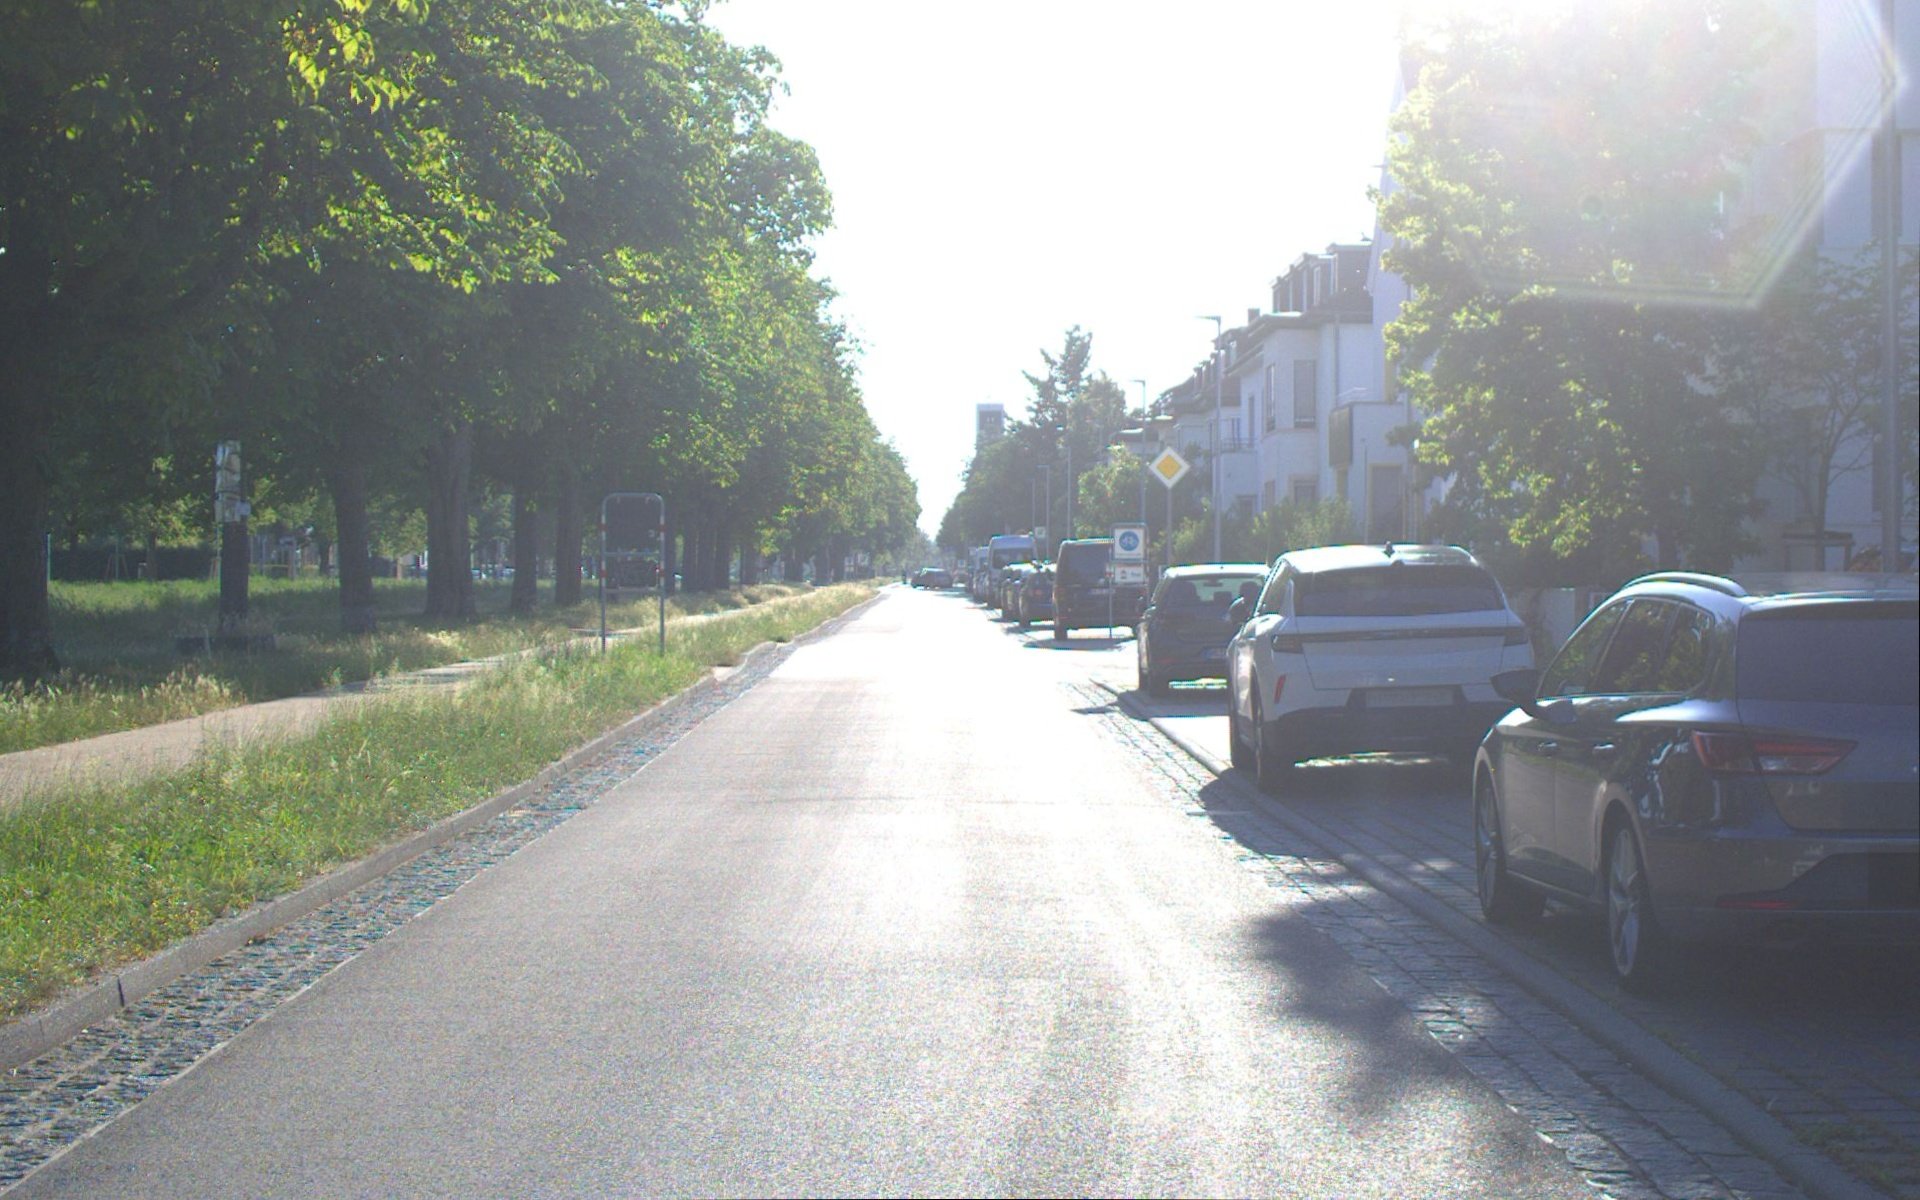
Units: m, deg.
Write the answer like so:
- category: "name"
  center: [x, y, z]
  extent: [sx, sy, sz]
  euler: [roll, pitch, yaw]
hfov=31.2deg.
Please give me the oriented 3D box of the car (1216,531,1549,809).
- category: "car"
  center: [2.872, 0.405, 24.288]
  extent: [1.905, 1.702, 4.575]
  euler: [-2, 1, 2]

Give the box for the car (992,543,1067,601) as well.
- category: "car"
  center: [1.962, -0.784, 97.956]
  extent: [1.717, 1.568, 4.211]
  euler: [-2, 0, -4]

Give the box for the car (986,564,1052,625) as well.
- category: "car"
  center: [1.744, -0.182, 103.522]
  extent: [1.832, 1.679, 4.415]
  euler: [2, 1, 0]

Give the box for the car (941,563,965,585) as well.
- category: "car"
  center: [-0.499, -1.888, 249.297]
  extent: [1.650, 1.525, 3.851]
  euler: [4, 1, 1]

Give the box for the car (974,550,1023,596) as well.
- category: "car"
  center: [1.377, -0.976, 124.679]
  extent: [1.663, 1.587, 4.086]
  euler: [1, 0, 0]

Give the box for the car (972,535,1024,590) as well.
- category: "car"
  center: [1.767, -1.747, 161.517]
  extent: [2.126, 2.524, 5.189]
  euler: [-1, 1, -2]

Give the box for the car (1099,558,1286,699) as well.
- category: "car"
  center: [2.616, 0.280, 39.492]
  extent: [1.794, 1.477, 4.124]
  euler: [-2, 1, -1]

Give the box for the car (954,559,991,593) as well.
- category: "car"
  center: [0.572, -1.093, 155.386]
  extent: [1.650, 1.525, 3.851]
  euler: [-1, 1, 1]

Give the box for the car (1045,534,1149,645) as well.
- category: "car"
  center: [2.736, -0.236, 69.644]
  extent: [1.906, 2.124, 4.814]
  euler: [-2, 1, 1]

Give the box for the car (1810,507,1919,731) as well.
- category: "car"
  center: [9.609, 0.187, 29.635]
  extent: [3.982, 1.838, 1.816]
  euler: [2, 2, -6]

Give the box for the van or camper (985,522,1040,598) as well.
- category: "van or camper"
  center: [1.975, -1.501, 131.255]
  extent: [1.943, 2.768, 5.940]
  euler: [1, 0, 0]

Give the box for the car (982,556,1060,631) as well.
- category: "car"
  center: [1.500, -0.181, 85.962]
  extent: [1.794, 1.765, 4.473]
  euler: [-2, 1, -1]

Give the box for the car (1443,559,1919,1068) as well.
- category: "car"
  center: [2.998, 0.623, 12.558]
  extent: [1.794, 1.489, 4.194]
  euler: [-2, 1, -1]
